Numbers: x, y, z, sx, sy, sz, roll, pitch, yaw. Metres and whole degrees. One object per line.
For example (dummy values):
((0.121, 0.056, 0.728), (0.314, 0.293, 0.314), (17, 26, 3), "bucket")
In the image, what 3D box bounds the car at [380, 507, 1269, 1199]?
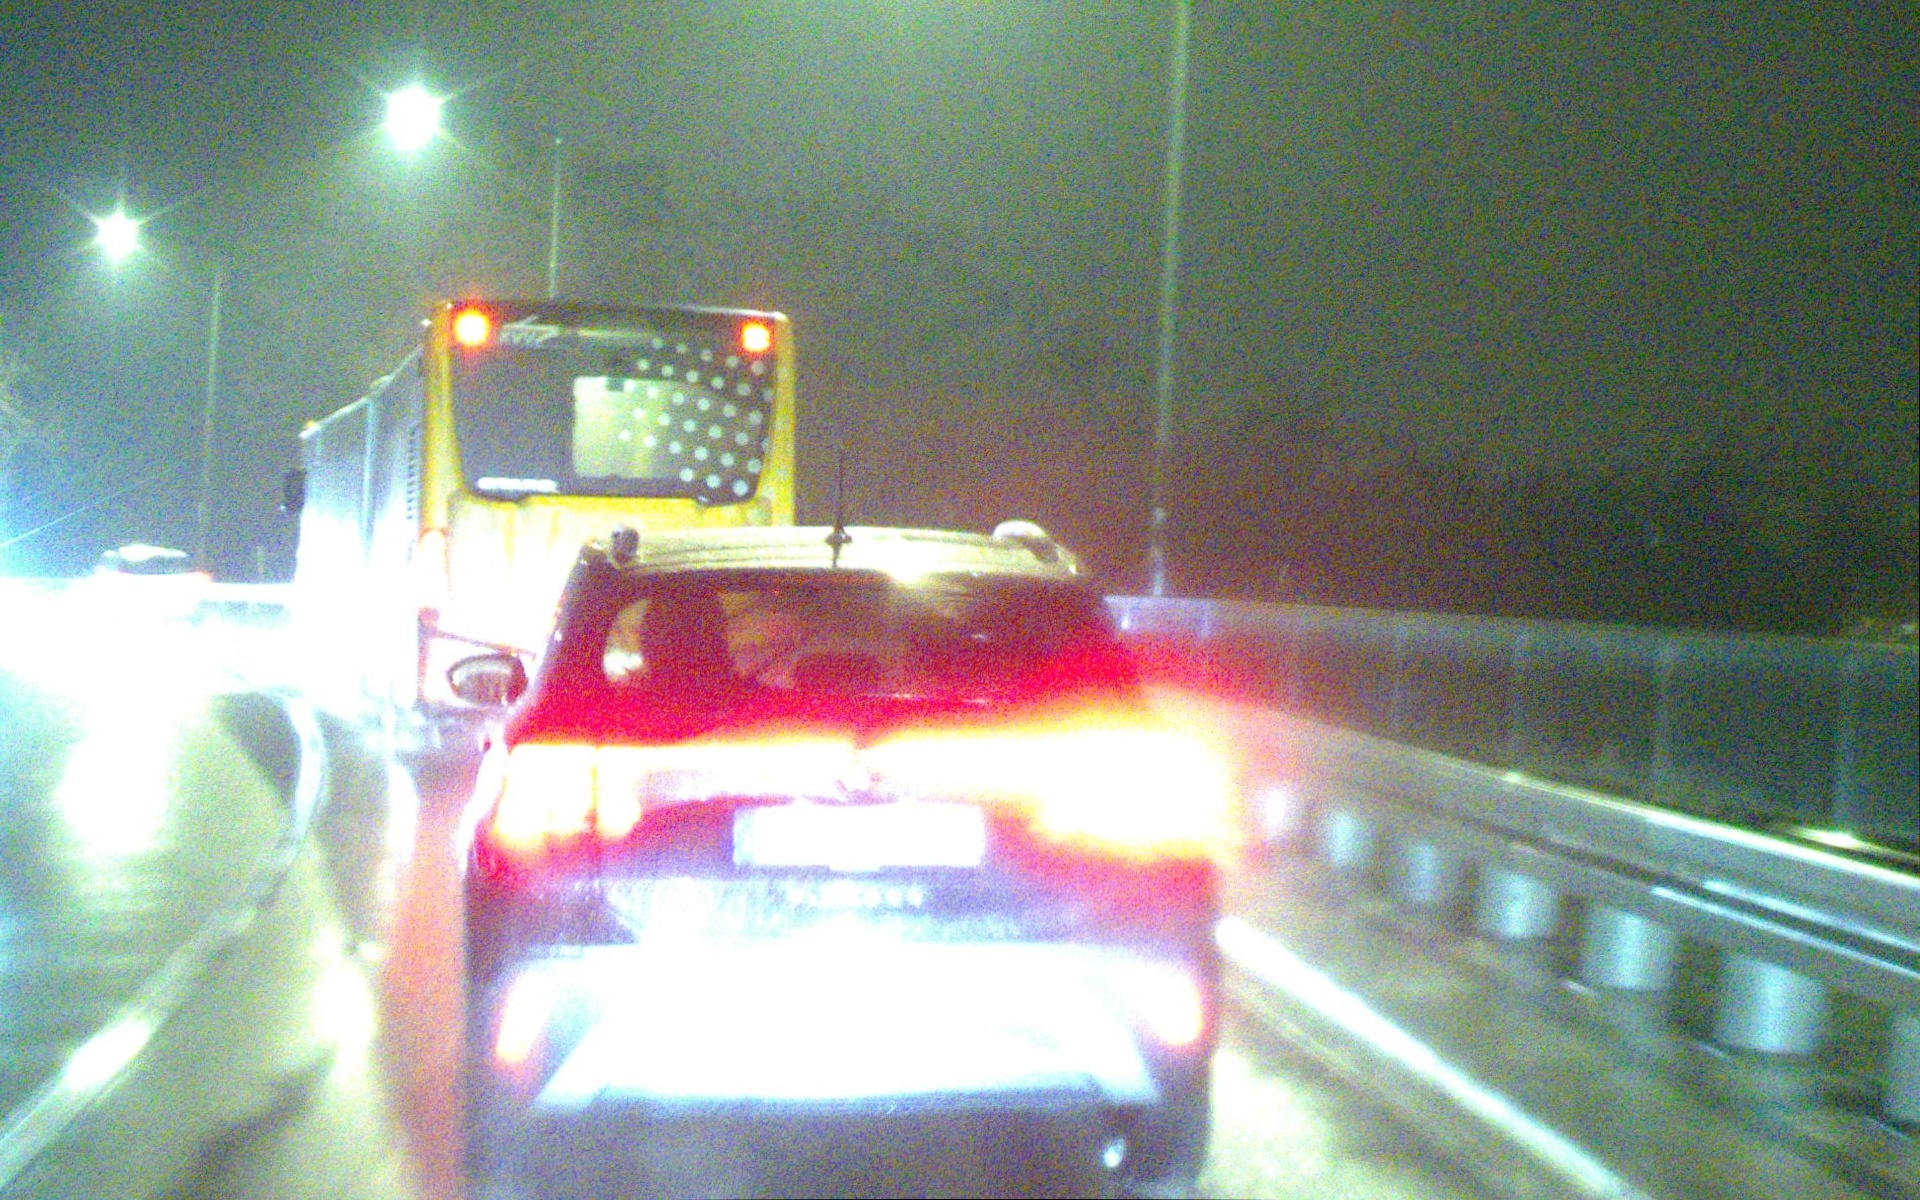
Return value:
((-0.425, 0.579, 9.189), (1.855, 1.581, 4.001), (0, 1, -4), "car")

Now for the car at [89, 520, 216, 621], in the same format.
((-14.226, -0.498, 60.456), (1.635, 1.650, 3.710), (-1, -1, -21), "car")

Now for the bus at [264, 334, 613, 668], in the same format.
((-6.033, -1.072, 38.579), (3.048, 3.121, 8.081), (5, 0, -13), "bus")

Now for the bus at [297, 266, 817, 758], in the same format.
((-3.770, -0.706, 28.351), (3.082, 3.122, 12.701), (-1, 1, -12), "bus")
